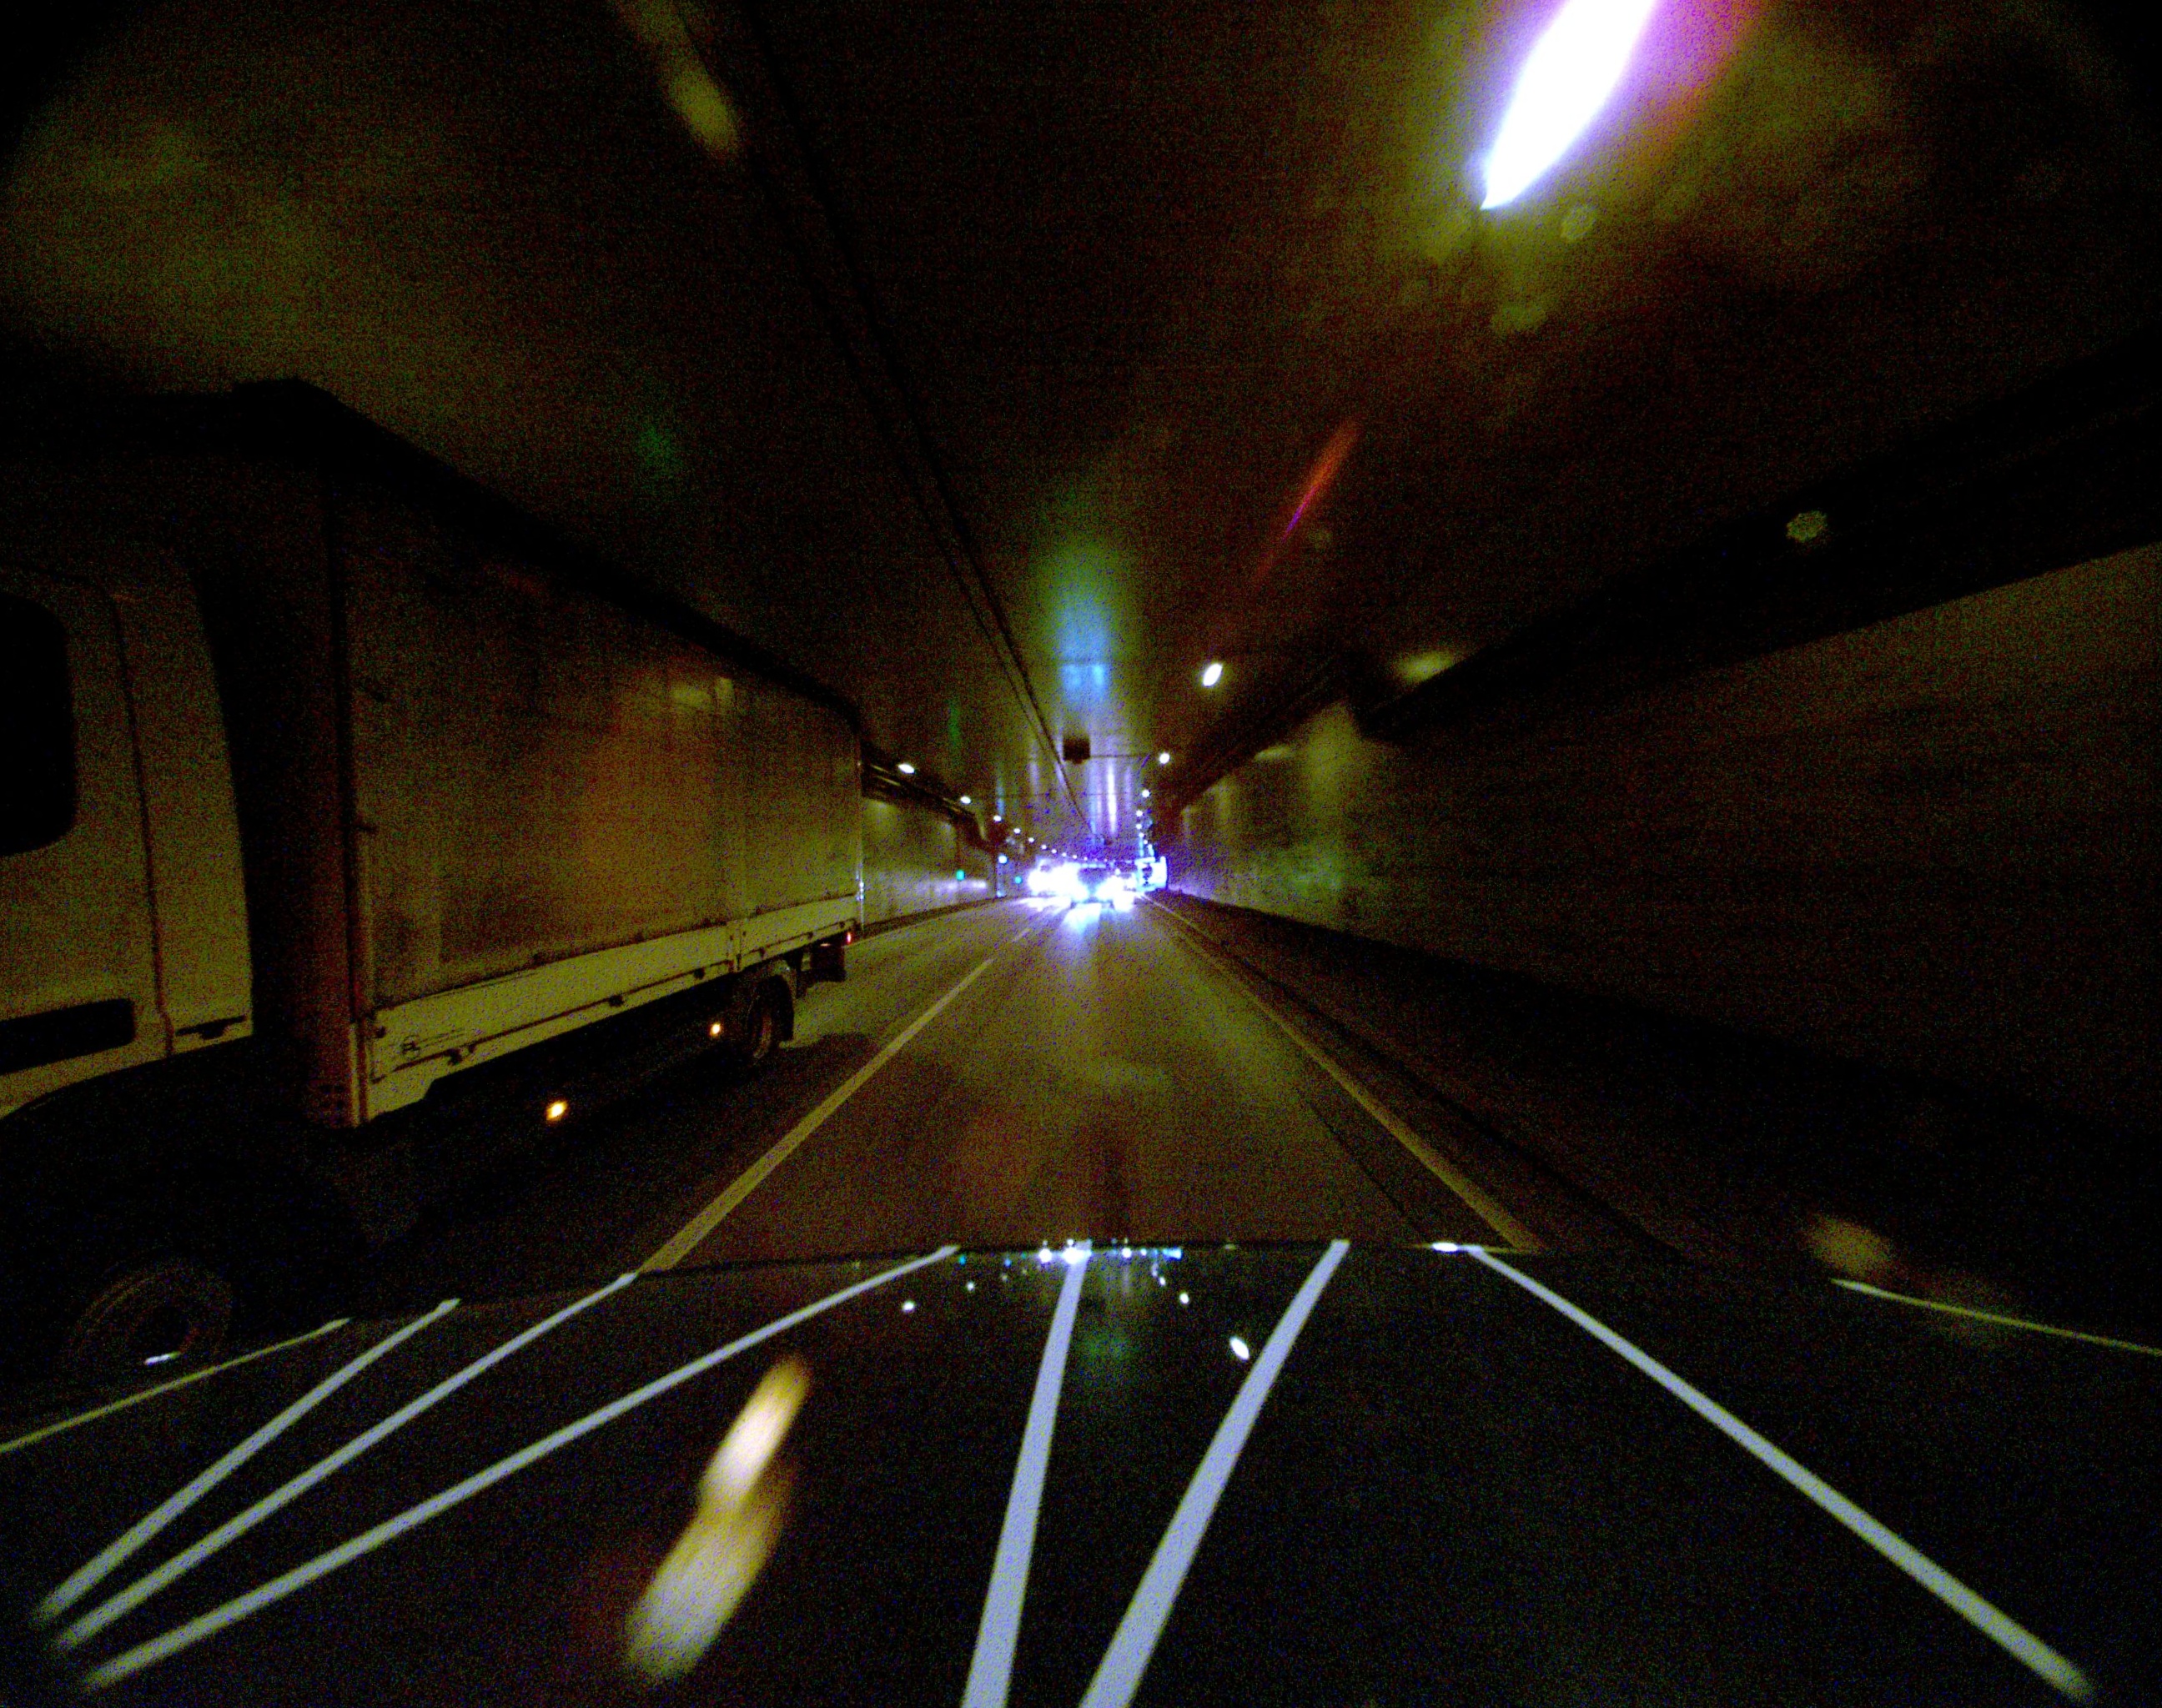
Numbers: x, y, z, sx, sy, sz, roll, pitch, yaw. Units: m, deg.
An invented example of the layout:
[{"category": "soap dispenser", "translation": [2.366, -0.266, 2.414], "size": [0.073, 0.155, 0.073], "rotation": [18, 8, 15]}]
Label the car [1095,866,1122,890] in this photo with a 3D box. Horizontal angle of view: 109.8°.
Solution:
[{"category": "car", "translation": [2.175, 1.830, 58.965], "size": [1.764, 1.552, 3.820], "rotation": [-5, 0, 4]}]

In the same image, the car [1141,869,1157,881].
[{"category": "car", "translation": [11.284, 3.430, 125.388], "size": [1.948, 1.525, 4.002], "rotation": [-5, 2, 14]}]

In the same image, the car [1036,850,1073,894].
[{"category": "car", "translation": [-1.789, 1.370, 53.539], "size": [2.106, 2.829, 6.865], "rotation": [-2, -3, 2]}]

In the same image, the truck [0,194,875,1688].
[{"category": "truck", "translation": [-3.512, 0.208, 4.087], "size": [2.560, 3.162, 7.246], "rotation": [-2, 0, 1]}]

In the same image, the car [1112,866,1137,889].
[{"category": "car", "translation": [4.060, 2.175, 70.565], "size": [1.934, 1.917, 4.200], "rotation": [-4, -2, 7]}]

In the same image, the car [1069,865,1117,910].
[{"category": "car", "translation": [0.479, 1.229, 28.586], "size": [1.639, 1.551, 3.718], "rotation": [-2, -1, 2]}]

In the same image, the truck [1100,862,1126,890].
[{"category": "truck", "translation": [3.631, 2.382, 84.086], "size": [2.073, 2.525, 6.026], "rotation": [-5, 1, 8]}]

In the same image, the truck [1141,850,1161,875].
[{"category": "truck", "translation": [14.556, 1.684, 157.542], "size": [2.885, 4.446, 10.458], "rotation": [-5, 1, 10]}]

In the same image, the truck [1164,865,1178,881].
[{"category": "truck", "translation": [18.712, 3.915, 157.235], "size": [2.137, 2.712, 5.675], "rotation": [-5, 1, 12]}]
